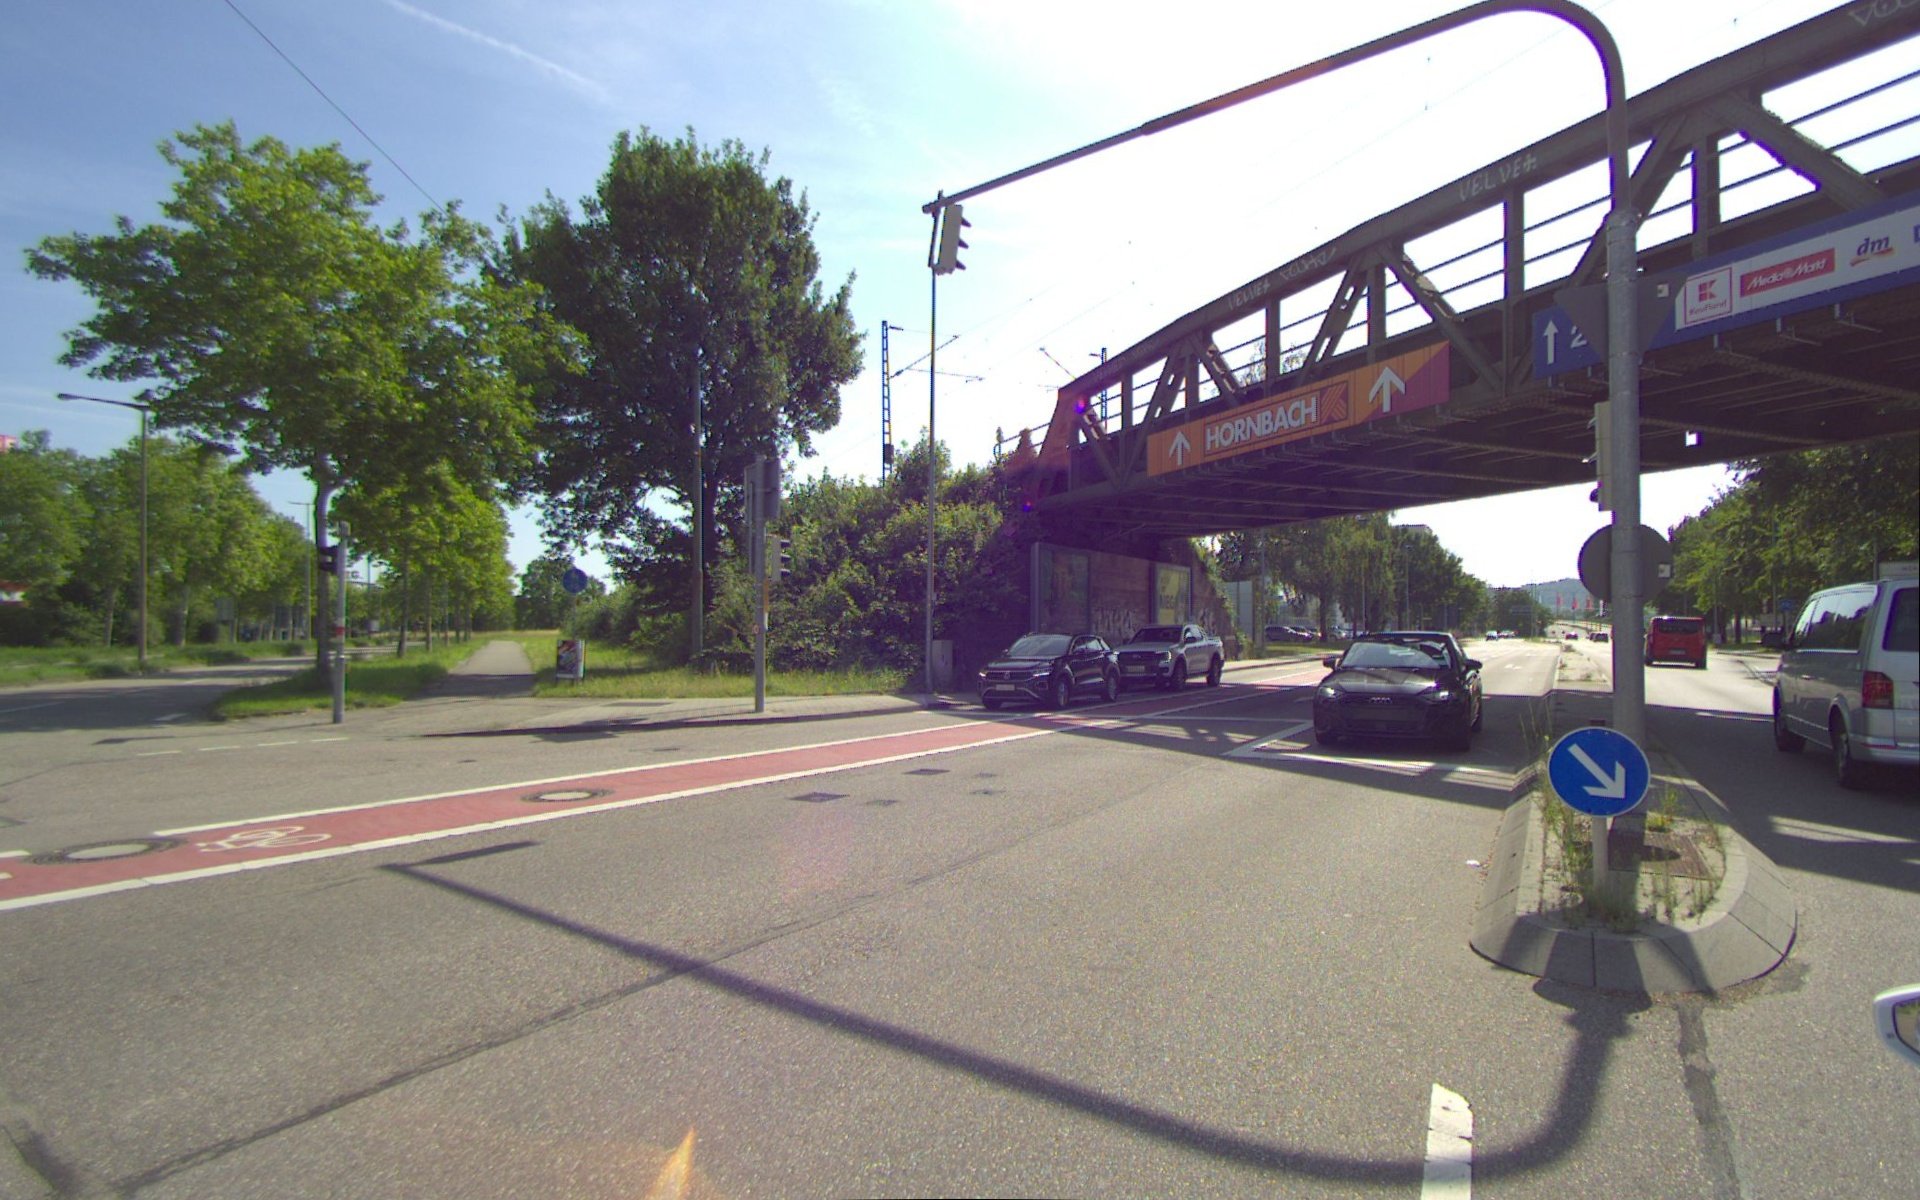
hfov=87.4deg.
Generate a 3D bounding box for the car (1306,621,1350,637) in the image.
[{"bbox_3d":[37.941,2.994,103.530,4.172,1.567,1.865,-1,-1,25],"label":"car"}]

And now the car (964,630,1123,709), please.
[{"bbox_3d":[1.862,1.420,21.278,1.791,1.500,3.935,-3,-3,31],"label":"car"}]

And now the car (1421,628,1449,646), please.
[{"bbox_3d":[41.168,3.207,86.978,1.939,1.512,4.076,-1,-2,28],"label":"car"}]

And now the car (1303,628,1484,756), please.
[{"bbox_3d":[5.928,1.092,13.431,1.740,1.413,4.327,-1,-2,30],"label":"car"}]

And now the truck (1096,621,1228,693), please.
[{"bbox_3d":[5.846,1.565,28.513,1.997,1.843,5.315,-3,-3,30],"label":"truck"}]

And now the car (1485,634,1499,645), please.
[{"bbox_3d":[81.954,6.069,154.668,1.939,1.512,4.076,-1,-2,28],"label":"car"}]

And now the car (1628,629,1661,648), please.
[{"bbox_3d":[53.000,2.952,77.790,1.760,1.415,4.317,-1,-2,30],"label":"car"}]

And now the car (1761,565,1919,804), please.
[{"bbox_3d":[9.774,0.744,10.218,1.914,1.998,5.010,0,-1,31],"label":"car"}]

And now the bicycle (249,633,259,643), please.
[{"bbox_3d":[-96.617,5.183,137.480,0.678,1.254,1.923,0,-1,-24],"label":"bicycle"}]

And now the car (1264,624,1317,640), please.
[{"bbox_3d":[28.492,2.747,86.662,4.172,1.362,1.998,-1,-1,25],"label":"car"}]

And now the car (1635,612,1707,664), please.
[{"bbox_3d":[28.667,1.505,40.638,1.940,1.950,4.552,-1,-2,30],"label":"car"}]

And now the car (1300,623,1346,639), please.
[{"bbox_3d":[36.140,3.034,100.085,4.172,1.567,1.865,-1,-1,25],"label":"car"}]
